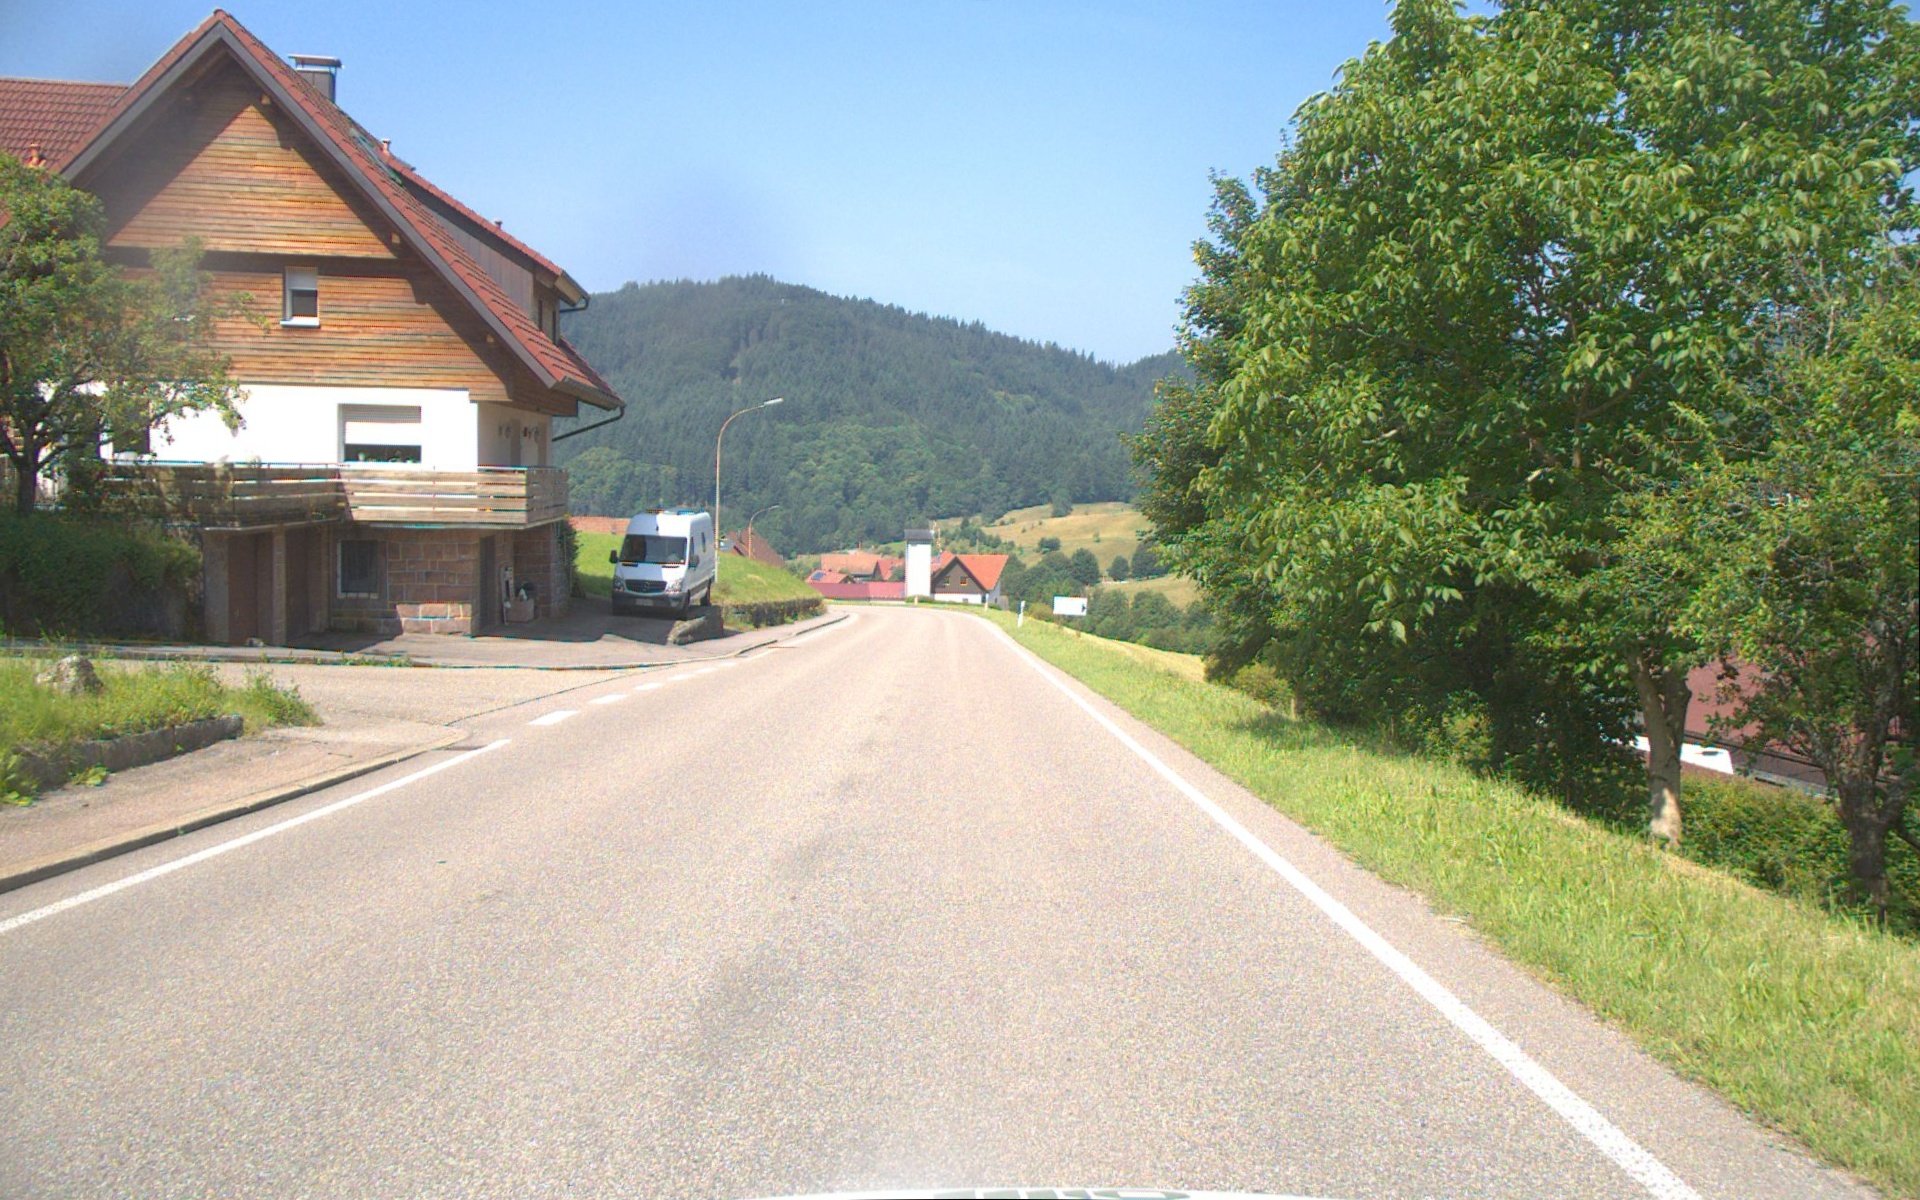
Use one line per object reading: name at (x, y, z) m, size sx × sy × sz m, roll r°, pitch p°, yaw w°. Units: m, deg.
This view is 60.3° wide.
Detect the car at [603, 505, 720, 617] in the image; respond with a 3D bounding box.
car at (-8.025, -1.185, 45.147) m, size 2.025 × 2.734 × 7.175 m, roll 1°, pitch 4°, yaw -2°
